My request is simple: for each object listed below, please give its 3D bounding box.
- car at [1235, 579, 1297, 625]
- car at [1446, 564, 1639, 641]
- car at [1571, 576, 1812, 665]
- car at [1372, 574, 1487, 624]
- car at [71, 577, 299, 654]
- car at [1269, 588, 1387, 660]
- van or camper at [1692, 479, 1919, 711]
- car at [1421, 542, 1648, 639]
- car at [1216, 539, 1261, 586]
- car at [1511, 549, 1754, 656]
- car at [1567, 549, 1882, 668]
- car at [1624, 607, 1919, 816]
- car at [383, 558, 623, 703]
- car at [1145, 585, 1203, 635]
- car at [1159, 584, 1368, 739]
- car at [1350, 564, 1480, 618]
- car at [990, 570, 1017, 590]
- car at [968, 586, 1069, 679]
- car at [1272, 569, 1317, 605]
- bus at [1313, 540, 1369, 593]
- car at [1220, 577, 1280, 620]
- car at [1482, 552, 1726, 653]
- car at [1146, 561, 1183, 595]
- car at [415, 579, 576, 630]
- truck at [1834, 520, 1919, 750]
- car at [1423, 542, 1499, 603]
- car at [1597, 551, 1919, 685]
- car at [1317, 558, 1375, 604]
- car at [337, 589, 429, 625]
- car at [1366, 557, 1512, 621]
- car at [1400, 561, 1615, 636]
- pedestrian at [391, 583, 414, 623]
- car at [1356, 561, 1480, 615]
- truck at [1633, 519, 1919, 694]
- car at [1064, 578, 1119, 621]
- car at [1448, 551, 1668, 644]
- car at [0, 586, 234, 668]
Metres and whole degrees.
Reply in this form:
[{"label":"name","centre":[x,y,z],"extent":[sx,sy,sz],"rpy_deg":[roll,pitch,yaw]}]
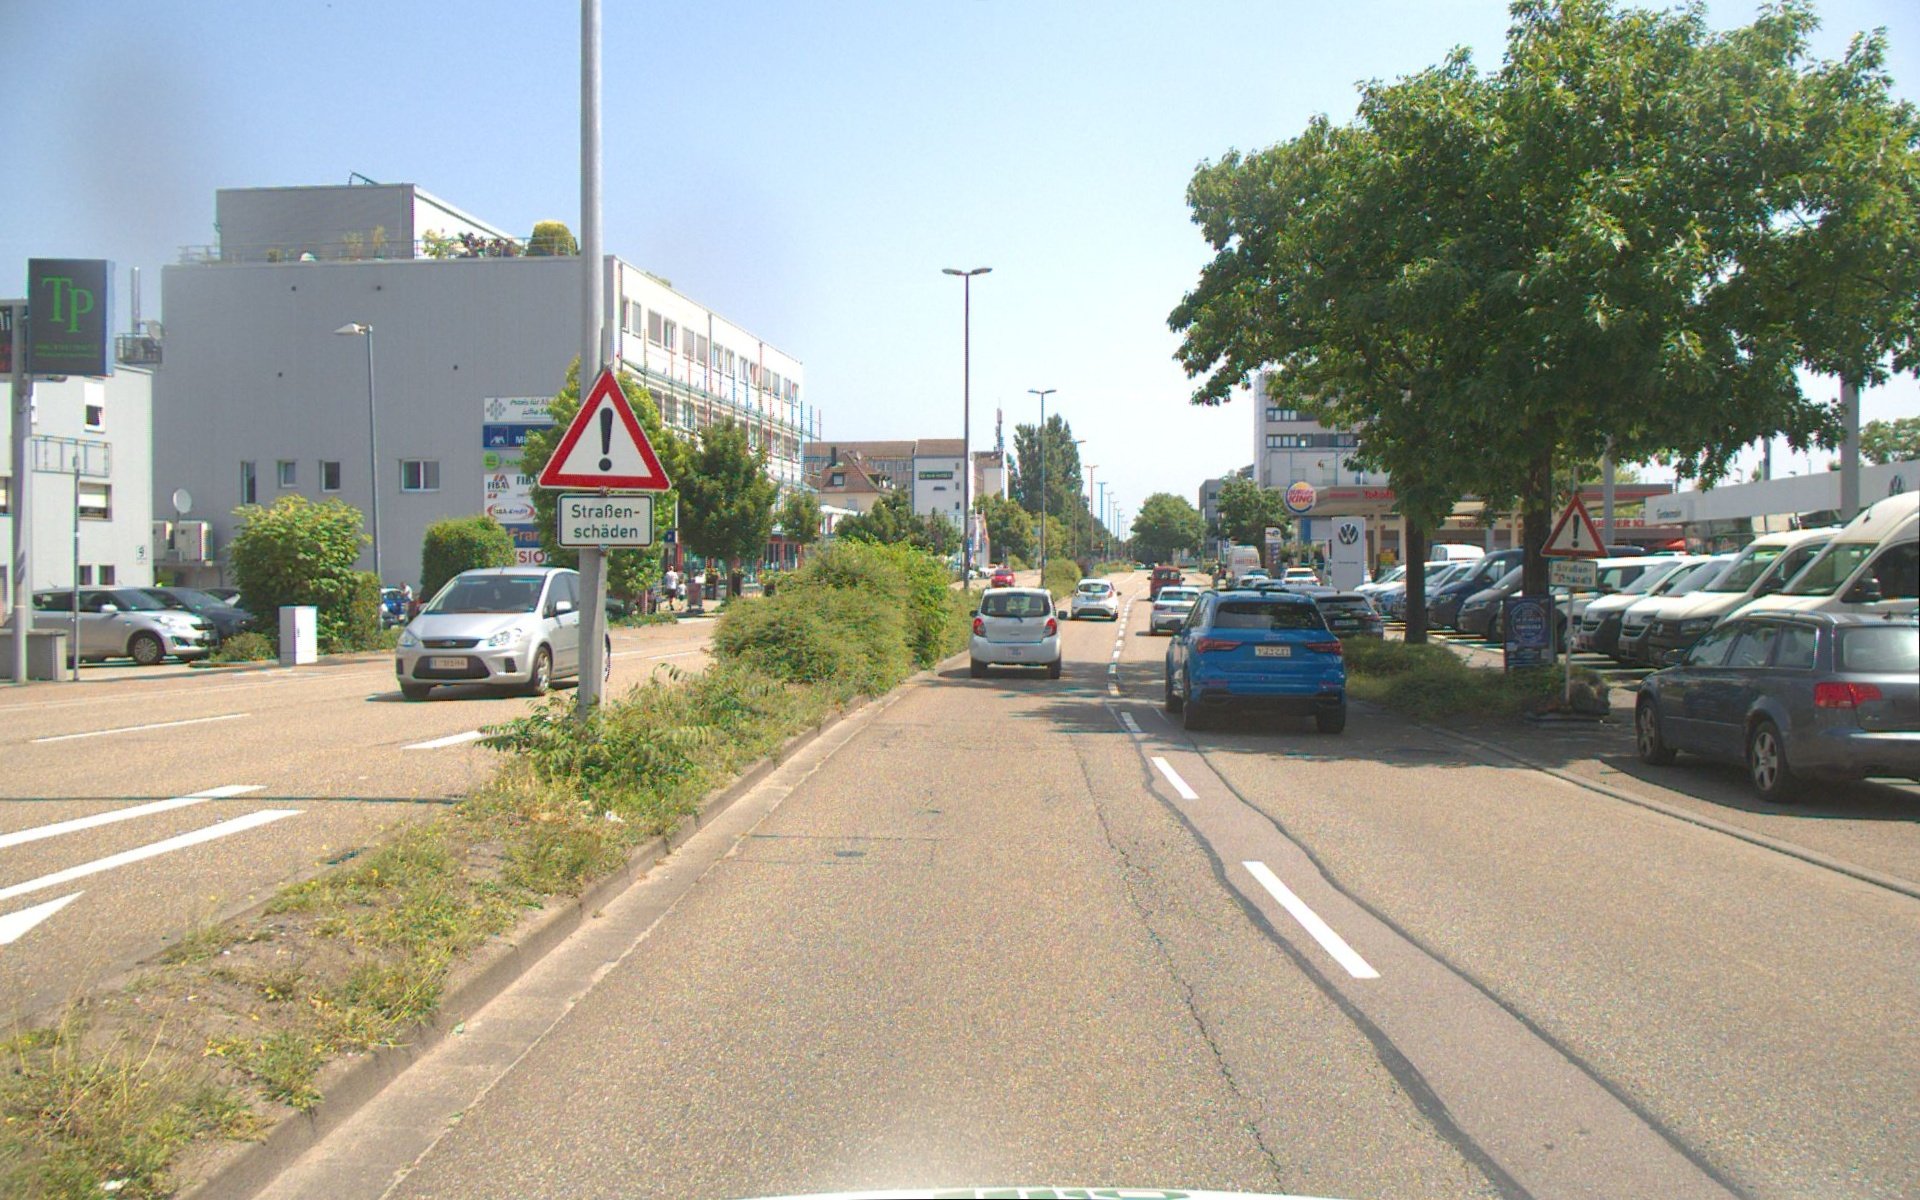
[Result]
[{"label":"car","centre":[11.125,0.038,60.425],"extent":[1.677,1.575,4.793],"rpy_deg":[-1,0,4]},{"label":"car","centre":[15.453,0.043,44.062],"extent":[4.471,1.883,1.953],"rpy_deg":[-2,1,5]},{"label":"car","centre":[14.575,0.386,33.094],"extent":[3.941,1.496,1.914],"rpy_deg":[-3,2,-1]},{"label":"car","centre":[15.606,-0.050,55.131],"extent":[3.553,1.598,1.718],"rpy_deg":[1,1,12]},{"label":"car","centre":[-15.835,0.310,33.866],"extent":[3.912,1.395,1.670],"rpy_deg":[-2,1,8]},{"label":"car","centre":[8.044,0.479,36.507],"extent":[1.647,1.460,4.439],"rpy_deg":[-1,0,1]},{"label":"van or camper","centre":[13.662,-0.105,22.172],"extent":[6.652,2.948,2.277],"rpy_deg":[-1,1,5]},{"label":"car","centre":[16.107,-0.253,46.698],"extent":[5.718,2.568,2.206],"rpy_deg":[1,-1,9]},{"label":"car","centre":[18.554,-2.483,110.602],"extent":[2.089,2.888,7.313],"rpy_deg":[-5,1,4]},{"label":"car","centre":[14.603,0.073,36.152],"extent":[4.414,2.049,2.199],"rpy_deg":[-3,-1,7]},{"label":"car","centre":[13.991,0.147,30.537],"extent":[4.808,2.005,2.143],"rpy_deg":[-1,0,6]},{"label":"car","centre":[7.213,0.819,13.938],"extent":[1.759,1.430,4.323],"rpy_deg":[1,0,4]},{"label":"car","centre":[-5.806,0.345,21.575],"extent":[1.743,1.657,4.341],"rpy_deg":[-1,0,2]},{"label":"car","centre":[6.398,0.300,49.659],"extent":[1.632,1.424,3.796],"rpy_deg":[1,0,6]},{"label":"car","centre":[3.549,0.644,20.085],"extent":[1.873,1.625,4.397],"rpy_deg":[1,1,2]},{"label":"car","centre":[17.201,-0.332,62.700],"extent":[4.459,1.921,1.858],"rpy_deg":[-2,-1,5]},{"label":"car","centre":[3.278,-1.493,123.531],"extent":[1.596,1.449,3.453],"rpy_deg":[-3,0,8]},{"label":"car","centre":[1.017,0.570,29.664],"extent":[1.677,1.537,3.247],"rpy_deg":[1,-1,1]},{"label":"car","centre":[15.938,-0.650,78.911],"extent":[1.632,1.623,4.617],"rpy_deg":[-1,1,6]},{"label":"bus","centre":[24.003,-2.206,104.727],"extent":[2.744,3.132,12.298],"rpy_deg":[1,2,10]},{"label":"car","centre":[11.497,-0.087,65.795],"extent":[1.696,1.579,4.181],"rpy_deg":[0,1,1]},{"label":"car","centre":[15.163,0.052,39.181],"extent":[4.957,2.133,2.042],"rpy_deg":[-2,0,5]},{"label":"car","centre":[11.014,-1.182,89.253],"extent":[1.757,1.759,3.975],"rpy_deg":[1,0,4]},{"label":"car","centre":[-13.675,0.116,48.837],"extent":[4.061,1.365,2.044],"rpy_deg":[-1,1,4]},{"label":"truck","centre":[13.055,0.272,17.662],"extent":[6.112,2.377,2.371],"rpy_deg":[-1,1,7]},{"label":"car","centre":[23.630,-1.309,78.287],"extent":[2.208,2.722,7.023],"rpy_deg":[-1,1,6]},{"label":"car","centre":[13.538,0.272,27.866],"extent":[4.843,2.150,2.161],"rpy_deg":[0,1,5]},{"label":"car","centre":[18.310,-0.911,78.588],"extent":[1.951,2.058,5.164],"rpy_deg":[2,1,5]},{"label":"car","centre":[-23.408,0.300,67.279],"extent":[1.951,1.396,4.002],"rpy_deg":[1,-1,6]},{"label":"car","centre":[16.664,-0.400,57.715],"extent":[4.542,2.048,1.961],"rpy_deg":[-2,1,4]},{"label":"car","centre":[16.307,-0.062,49.571],"extent":[5.768,2.049,2.261],"rpy_deg":[1,0,8]},{"label":"pedestrian","centre":[-22.572,0.133,66.989],"extent":[0.594,1.616,0.720],"rpy_deg":[1,-1,5]},{"label":"car","centre":[16.707,-0.425,60.494],"extent":[4.062,1.812,1.882],"rpy_deg":[-1,-1,5]},{"label":"truck","centre":[13.198,0.074,25.077],"extent":[5.135,2.478,2.113],"rpy_deg":[-1,1,7]},{"label":"car","centre":[4.812,-0.019,61.006],"extent":[1.792,1.475,4.001],"rpy_deg":[1,0,1]},{"label":"car","centre":[14.970,-0.078,41.662],"extent":[4.796,2.151,2.131],"rpy_deg":[-2,1,5]},{"label":"car","centre":[-15.953,0.499,31.109],"extent":[3.904,1.485,1.575],"rpy_deg":[0,-1,1]}]
